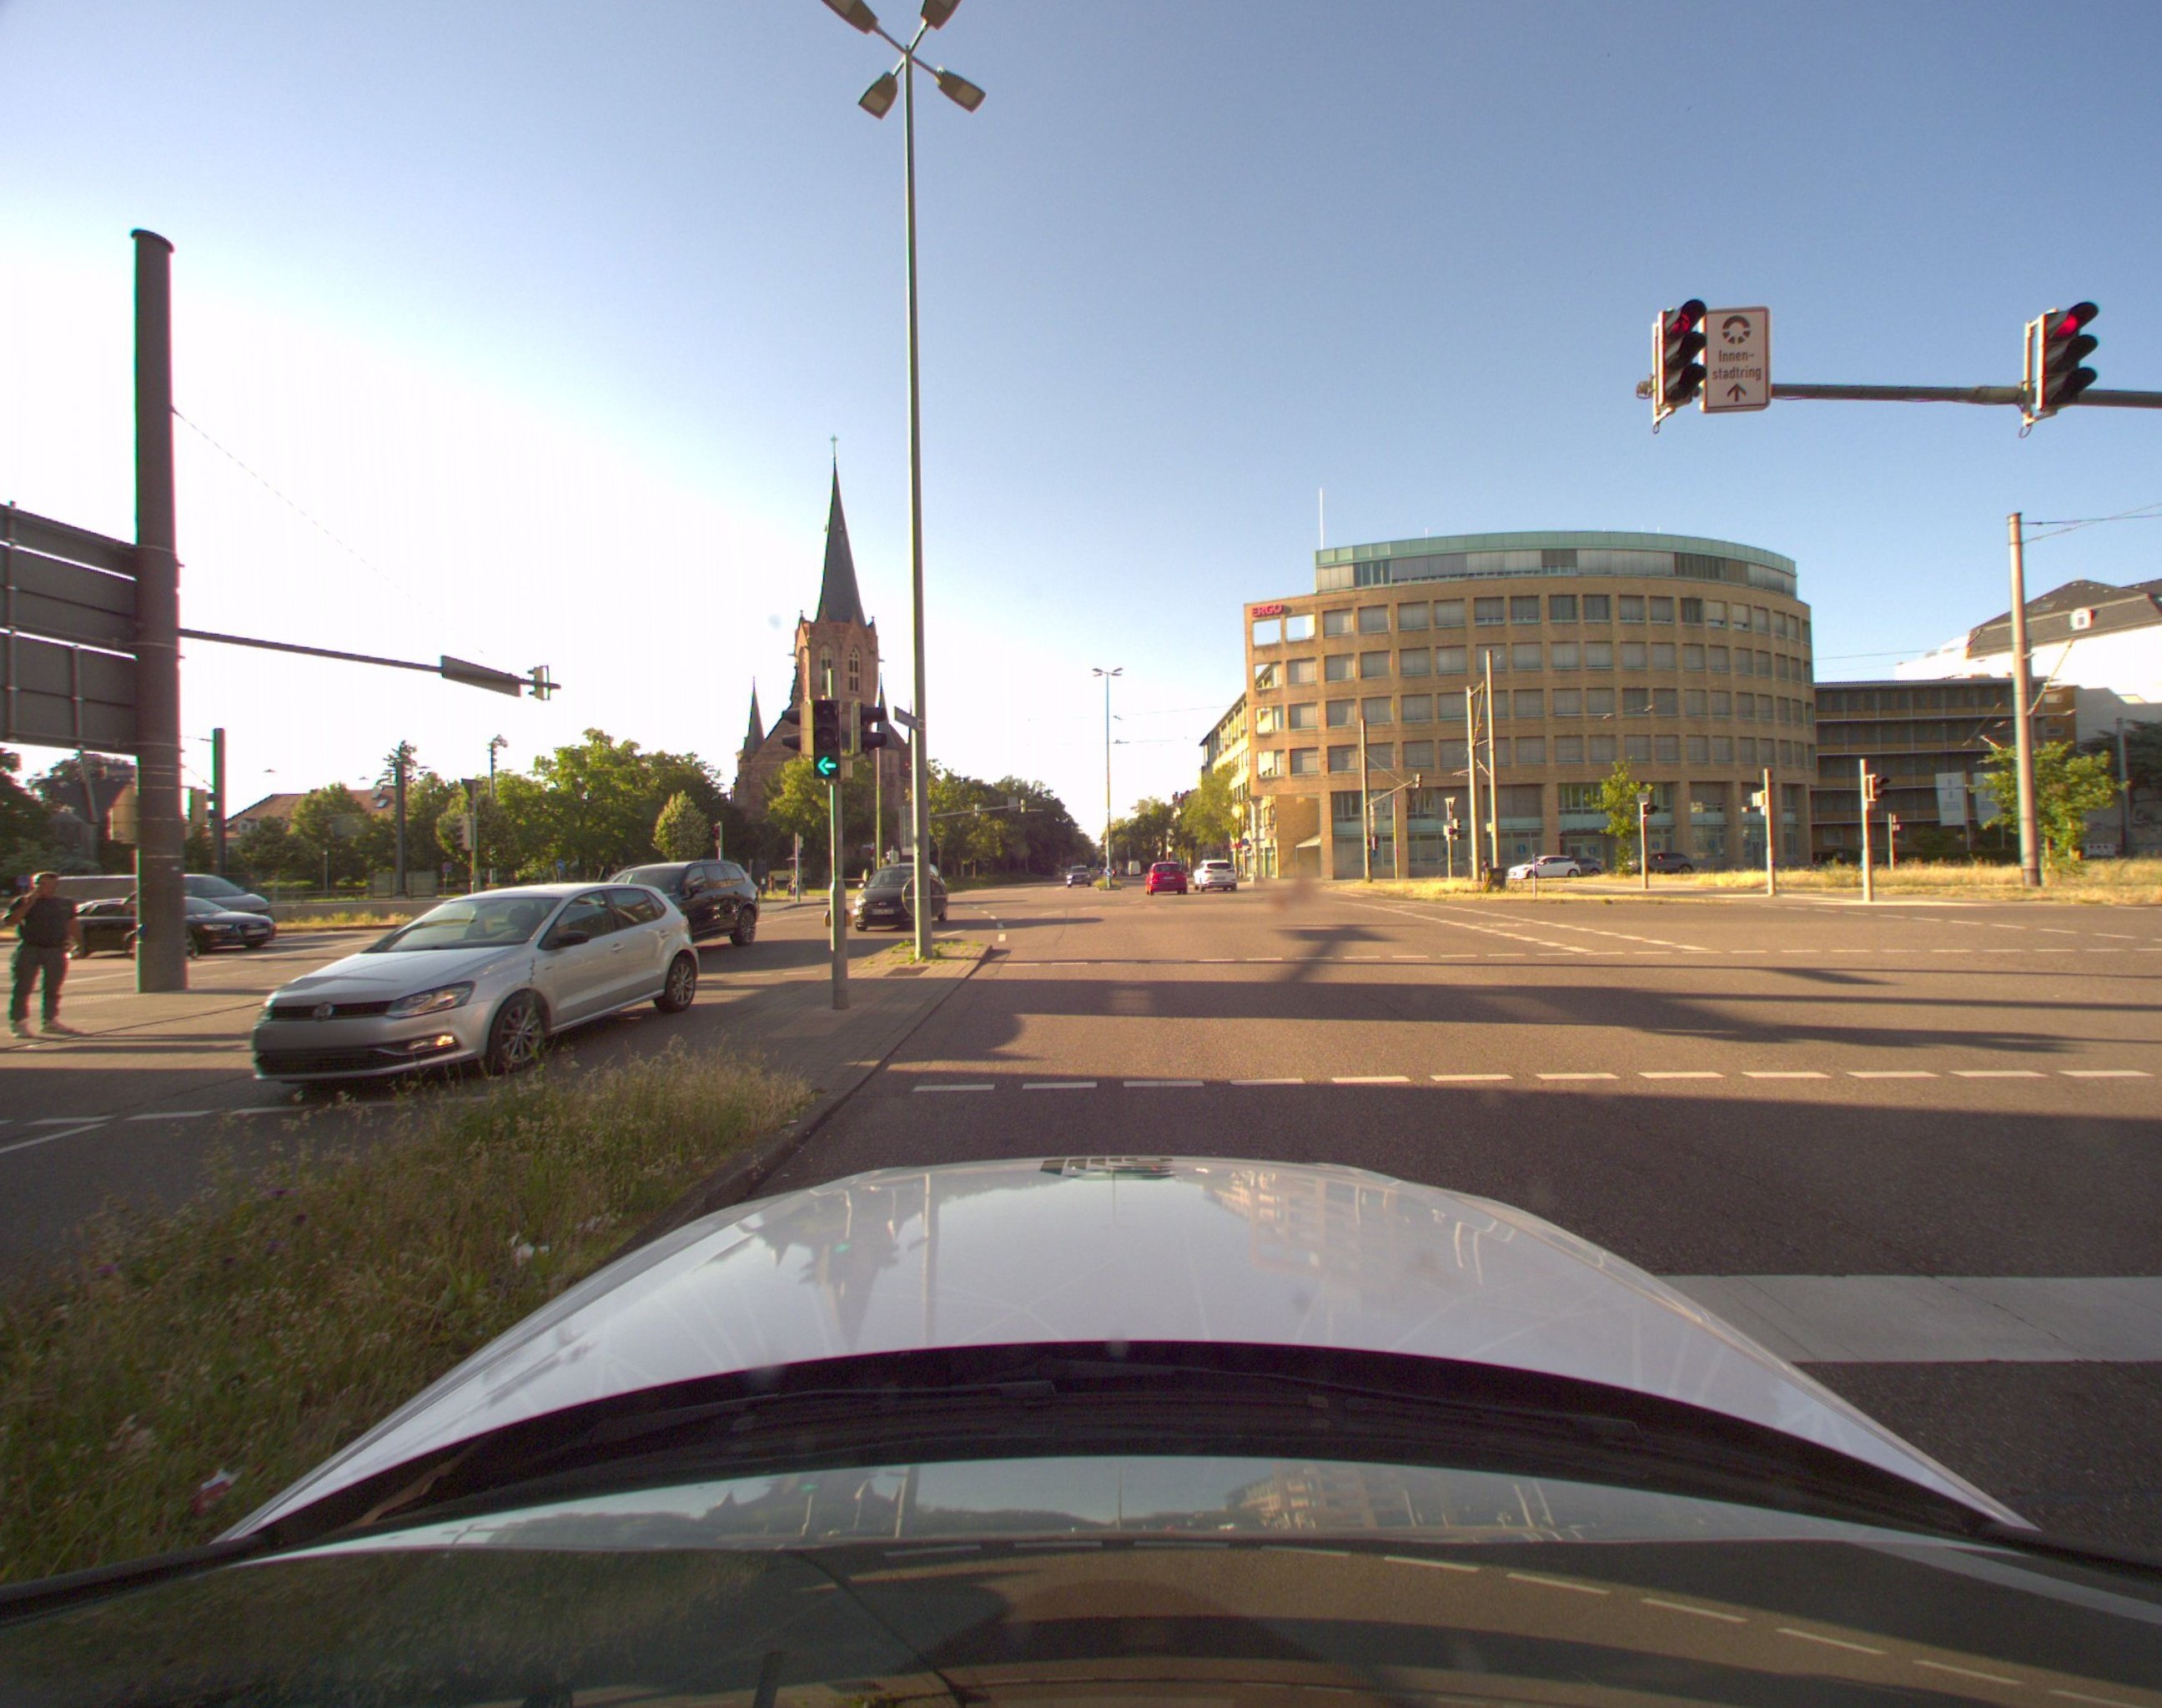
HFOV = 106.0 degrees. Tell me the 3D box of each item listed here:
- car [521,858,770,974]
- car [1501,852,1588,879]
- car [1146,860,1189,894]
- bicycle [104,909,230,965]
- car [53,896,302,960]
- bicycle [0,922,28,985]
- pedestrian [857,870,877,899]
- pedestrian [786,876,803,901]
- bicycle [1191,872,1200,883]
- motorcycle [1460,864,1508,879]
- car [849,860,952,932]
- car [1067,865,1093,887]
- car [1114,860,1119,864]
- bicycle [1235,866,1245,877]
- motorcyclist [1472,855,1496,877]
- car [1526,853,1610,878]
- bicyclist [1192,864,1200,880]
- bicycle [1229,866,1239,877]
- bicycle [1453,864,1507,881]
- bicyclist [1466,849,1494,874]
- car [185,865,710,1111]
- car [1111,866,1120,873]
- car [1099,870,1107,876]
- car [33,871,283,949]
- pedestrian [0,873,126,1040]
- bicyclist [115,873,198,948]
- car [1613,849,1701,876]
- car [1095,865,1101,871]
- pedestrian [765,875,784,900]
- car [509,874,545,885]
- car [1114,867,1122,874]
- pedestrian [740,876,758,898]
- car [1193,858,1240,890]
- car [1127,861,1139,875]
[{"bbox_3d":[-7.663,0.970,14.996,1.809,1.711,4.788,-3,0,2],"label":"car"},{"bbox_3d":[28.452,0.704,50.079,4.150,1.492,1.994,-2,-1,-1],"label":"car"},{"bbox_3d":[3.913,1.023,37.227,1.663,1.462,4.001,0,-1,2],"label":"car"},{"bbox_3d":[-20.783,1.874,18.545,1.770,1.097,0.952,-3,0,1],"label":"bicycle"},{"bbox_3d":[-22.611,1.829,20.507,4.175,1.312,1.801,-2,0,-1],"label":"car"},{"bbox_3d":[-18.734,1.697,13.038,0.732,1.051,2.300,-2,-1,1],"label":"bicycle"},{"bbox_3d":[-12.913,1.843,49.141,0.961,1.739,0.812,-1,-1,2],"label":"pedestrian"},{"bbox_3d":[-19.769,2.380,56.225,0.884,1.696,0.714,-1,-2,40],"label":"pedestrian"},{"bbox_3d":[10.173,2.044,72.277,0.589,0.943,1.979,0,0,2],"label":"bicycle"},{"bbox_3d":[27.276,1.170,55.128,2.708,0.964,1.032,-1,-1,0],"label":"motorcycle"},{"bbox_3d":[-4.338,0.955,20.038,1.572,1.544,3.478,-3,0,2],"label":"car"},{"bbox_3d":[-0.064,1.834,68.816,1.986,1.724,5.031,-2,-2,1],"label":"car"},{"bbox_3d":[11.137,2.556,254.318,1.588,1.267,3.268,-2,-1,2],"label":"car"},{"bbox_3d":[15.434,1.717,79.014,0.644,0.995,2.081,-1,-1,1],"label":"bicycle"},{"bbox_3d":[27.282,0.814,55.137,1.061,1.435,1.032,-1,-1,1],"label":"motorcyclist"},{"bbox_3d":[32.898,0.797,55.090,4.464,1.537,1.987,-2,-1,2],"label":"car"},{"bbox_3d":[10.175,1.575,72.261,0.590,1.369,0.930,0,-1,2],"label":"bicyclist"},{"bbox_3d":[15.537,1.771,82.720,0.644,0.995,2.081,-1,-1,1],"label":"bicycle"},{"bbox_3d":[25.806,1.181,52.715,2.951,1.000,1.154,-2,-1,-1],"label":"bicycle"},{"bbox_3d":[25.834,0.509,52.754,1.219,1.572,1.154,-2,-1,0],"label":"bicyclist"},{"bbox_3d":[-5.184,0.939,7.446,1.669,1.544,3.807,-3,0,2],"label":"car"},{"bbox_3d":[6.207,2.799,146.488,1.588,1.267,3.268,-2,-1,2],"label":"car"},{"bbox_3d":[4.554,3.935,170.587,1.588,1.267,3.268,-2,-1,2],"label":"car"},{"bbox_3d":[-26.705,1.588,23.700,4.908,2.014,1.999,-2,-1,-1],"label":"car"},{"bbox_3d":[-11.675,1.124,9.261,0.605,1.787,0.813,1,-1,5],"label":"pedestrian"},{"bbox_3d":[-21.033,1.270,18.549,0.733,1.598,0.963,-3,0,2],"label":"bicyclist"},{"bbox_3d":[35.354,0.523,50.048,4.038,1.492,1.820,-2,-1,0],"label":"car"},{"bbox_3d":[5.193,4.287,250.159,1.879,1.671,4.002,0,-1,2],"label":"car"},{"bbox_3d":[-21.746,2.362,57.797,1.004,1.696,0.850,-1,-1,29],"label":"pedestrian"},{"bbox_3d":[-91.353,4.185,134.249,4.450,1.571,1.993,-1,-1,-10],"label":"car"},{"bbox_3d":[7.150,3.234,158.716,1.588,1.267,3.268,-2,-1,2],"label":"car"},{"bbox_3d":[-26.031,2.590,63.850,1.004,1.696,0.850,-1,-1,35],"label":"pedestrian"},{"bbox_3d":[7.164,1.044,43.332,1.909,1.607,4.271,0,-1,2],"label":"car"},{"bbox_3d":[9.223,2.411,143.604,1.986,2.441,4.002,0,-1,2],"label":"car"}]
